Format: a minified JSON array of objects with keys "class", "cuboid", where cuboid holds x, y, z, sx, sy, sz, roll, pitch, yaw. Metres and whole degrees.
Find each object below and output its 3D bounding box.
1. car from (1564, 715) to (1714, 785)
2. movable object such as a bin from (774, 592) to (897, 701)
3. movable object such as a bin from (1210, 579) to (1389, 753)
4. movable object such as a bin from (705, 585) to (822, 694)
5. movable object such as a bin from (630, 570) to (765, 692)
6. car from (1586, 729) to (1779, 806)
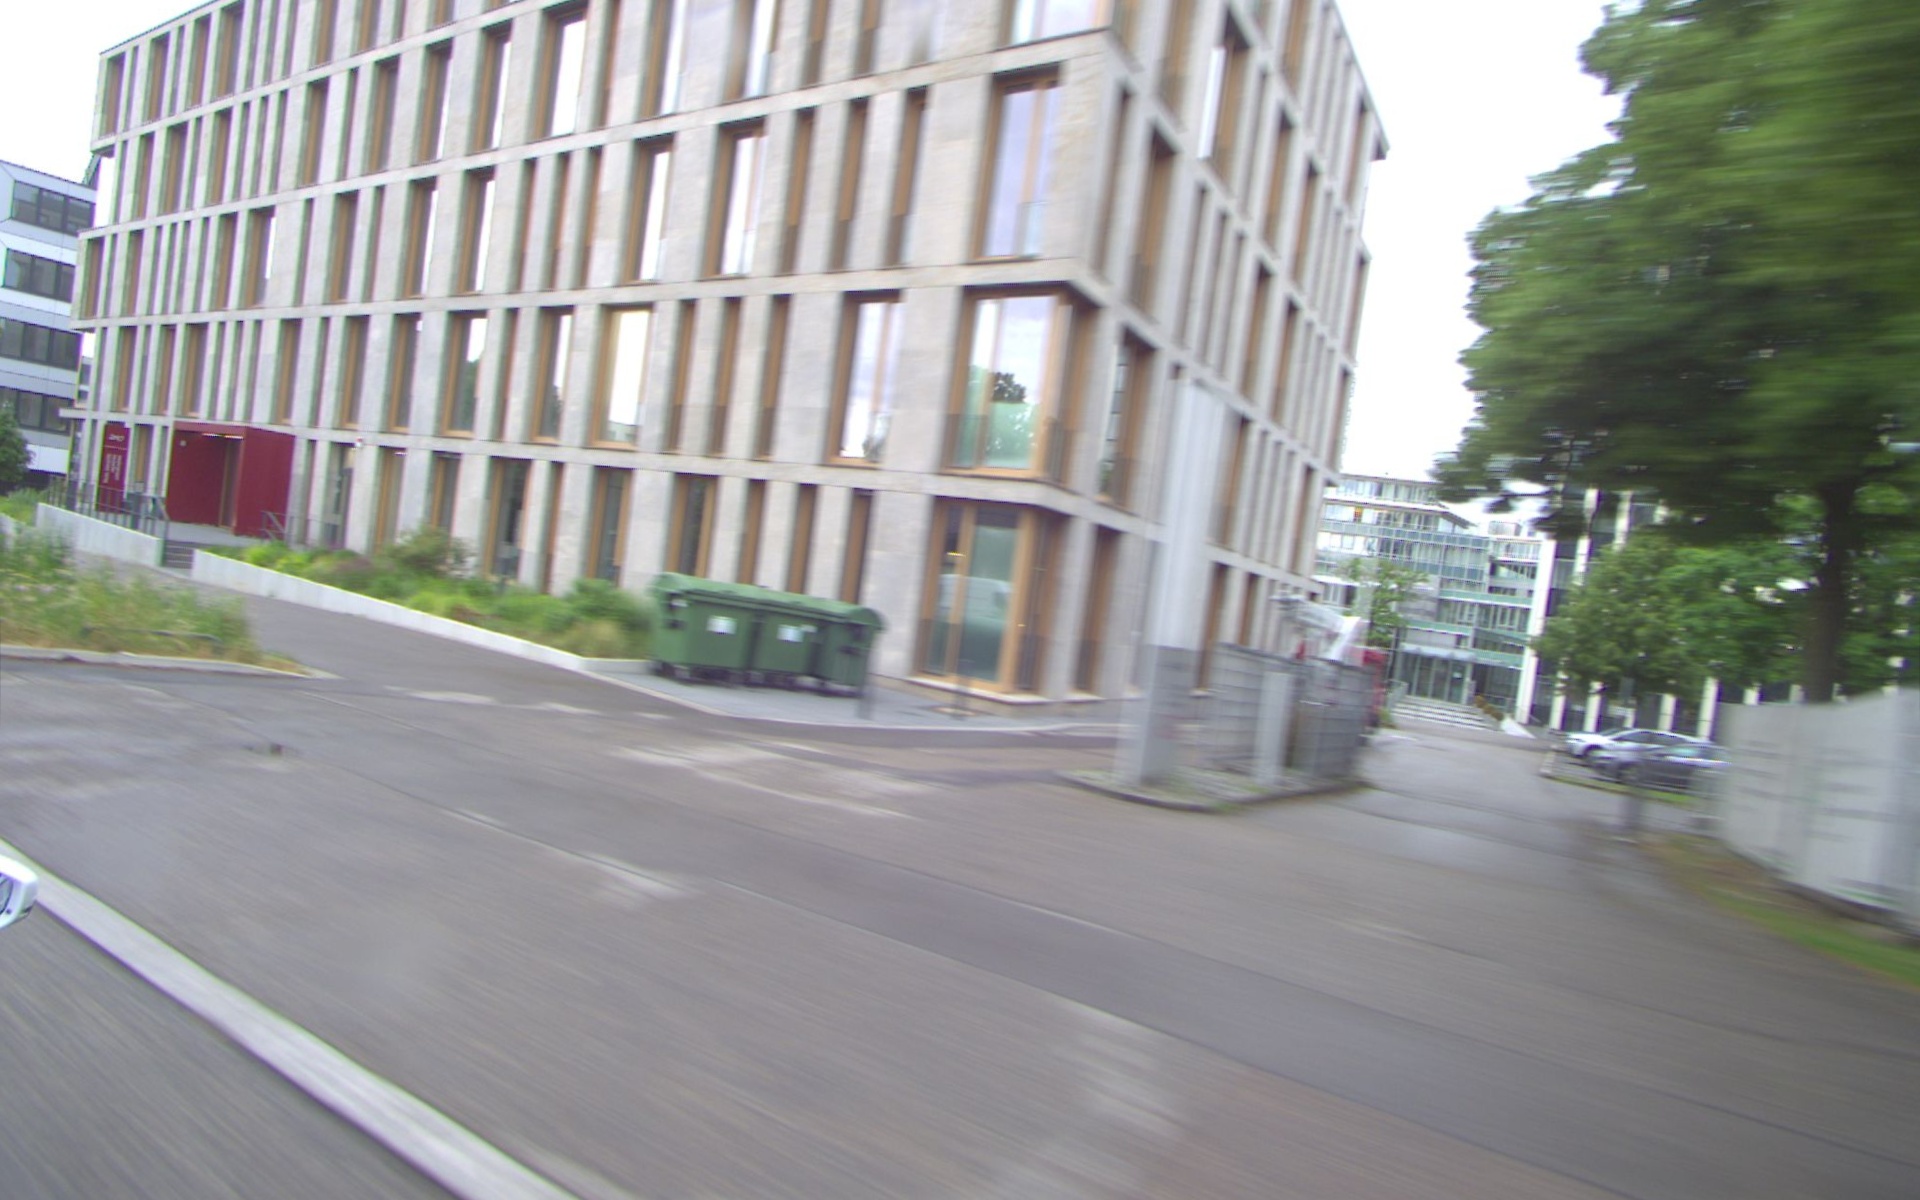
[{"class":"car","cuboid":[22.672,4.962,33.801,3.934,1.637,1.773,6,-2,32]},{"class":"movable object such as a bin","cuboid":[-1.982,0.738,16.052,1.368,1.522,1.195,6,-1,40]},{"class":"movable object such as a bin","cuboid":[8.524,1.683,24.728,2.585,3.487,6.365,6,-2,31]},{"class":"movable object such as a bin","cuboid":[-2.963,0.593,15.223,1.134,1.414,1.098,6,-4,42]},{"class":"movable object such as a bin","cuboid":[-3.682,0.440,14.131,1.096,1.473,1.247,6,-4,42]},{"class":"car","cuboid":[19.645,4.528,27.575,4.055,1.307,1.628,6,-2,32]}]
